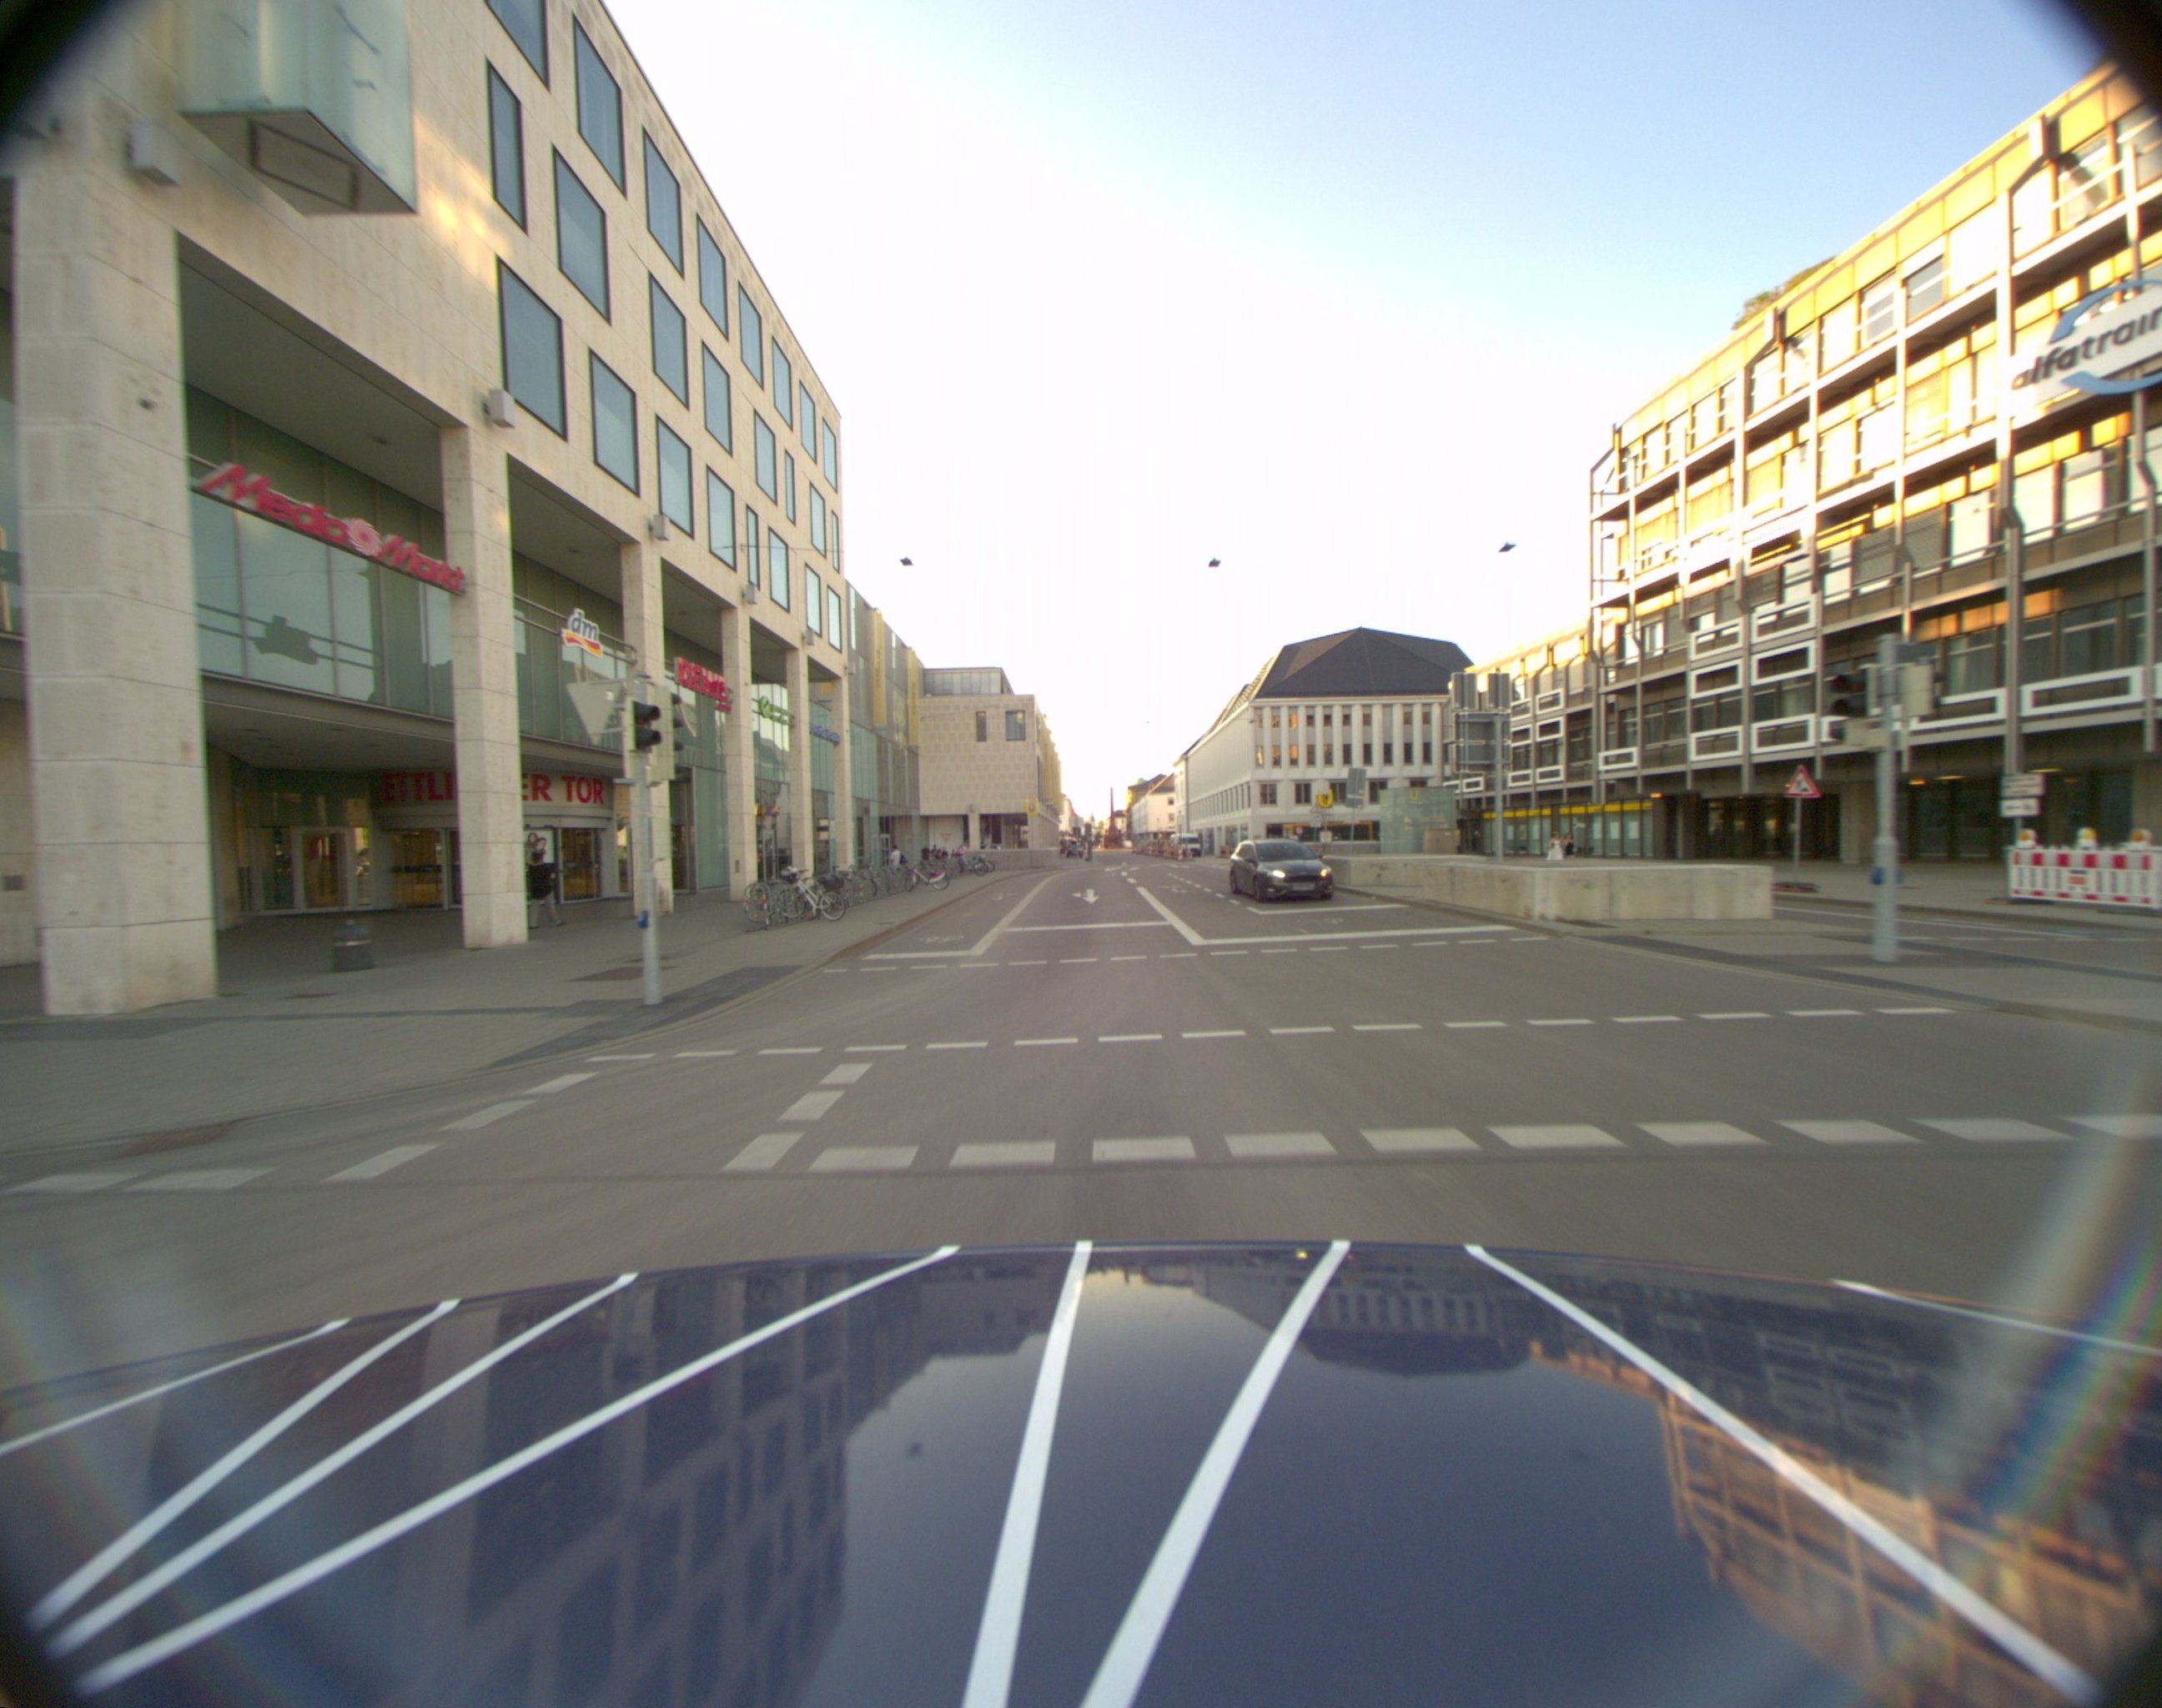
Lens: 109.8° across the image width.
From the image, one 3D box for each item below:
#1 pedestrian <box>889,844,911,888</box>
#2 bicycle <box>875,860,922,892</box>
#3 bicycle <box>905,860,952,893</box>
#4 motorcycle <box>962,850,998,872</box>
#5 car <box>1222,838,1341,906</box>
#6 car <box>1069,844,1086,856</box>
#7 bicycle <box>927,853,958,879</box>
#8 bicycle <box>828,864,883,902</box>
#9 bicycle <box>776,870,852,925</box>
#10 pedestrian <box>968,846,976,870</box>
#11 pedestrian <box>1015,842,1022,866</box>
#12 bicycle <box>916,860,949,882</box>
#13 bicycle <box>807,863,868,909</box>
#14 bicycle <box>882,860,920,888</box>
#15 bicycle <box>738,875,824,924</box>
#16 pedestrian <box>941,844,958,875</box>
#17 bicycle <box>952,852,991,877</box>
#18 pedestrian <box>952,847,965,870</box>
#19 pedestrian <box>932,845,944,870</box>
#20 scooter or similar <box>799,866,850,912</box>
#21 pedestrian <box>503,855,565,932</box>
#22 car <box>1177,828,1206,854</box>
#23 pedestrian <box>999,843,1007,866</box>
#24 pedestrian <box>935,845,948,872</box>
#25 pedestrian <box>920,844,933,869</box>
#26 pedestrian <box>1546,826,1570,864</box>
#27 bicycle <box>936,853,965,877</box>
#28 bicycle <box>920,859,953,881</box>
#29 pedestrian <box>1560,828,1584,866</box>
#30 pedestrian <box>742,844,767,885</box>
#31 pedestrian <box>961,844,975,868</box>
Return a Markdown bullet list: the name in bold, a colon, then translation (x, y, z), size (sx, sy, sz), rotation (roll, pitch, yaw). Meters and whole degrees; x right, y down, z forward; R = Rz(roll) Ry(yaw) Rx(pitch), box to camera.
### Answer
- **pedestrian**: translation (-7.042, 0.451, 29.612), size (0.708, 1.682, 0.629), rotation (-1, 2, -8)
- **bicycle**: translation (-6.838, 0.820, 28.491), size (1.518, 1.118, 0.580), rotation (-4, 1, 4)
- **bicycle**: translation (-5.424, 0.791, 27.044), size (1.518, 1.057, 0.466), rotation (-4, 1, 1)
- **motorcycle**: translation (-5.893, 0.426, 44.234), size (2.007, 1.217, 0.480), rotation (-1, 2, -3)
- **car**: translation (4.927, 0.367, 19.309), size (1.762, 1.454, 4.378), rotation (-3, 1, -1)
- **car**: translation (-0.415, -0.489, 87.079), size (1.798, 1.365, 3.670), rotation (-1, 1, 2)
- **bicycle**: translation (-6.783, 0.596, 37.172), size (1.345, 1.157, 0.518), rotation (-4, 1, -1)
- **bicycle**: translation (-7.132, 0.918, 24.072), size (1.519, 1.099, 0.552), rotation (-4, 1, -3)
- **bicycle**: translation (-6.033, 0.975, 17.205), size (1.482, 1.177, 0.548), rotation (-1, 1, 5)
- **pedestrian**: translation (-8.240, 0.294, 57.461), size (0.494, 1.734, 0.656), rotation (-1, 2, 3)
- **pedestrian**: translation (-4.644, 0.004, 56.691), size (0.455, 1.734, 0.492), rotation (-1, 2, 3)
- **bicycle**: translation (-6.752, 0.763, 34.602), size (1.345, 0.927, 0.518), rotation (-4, 1, -1)
- **bicycle**: translation (-7.190, 0.929, 22.454), size (1.518, 1.220, 0.618), rotation (-4, 1, -1)
- **bicycle**: translation (-7.368, 0.819, 31.167), size (1.447, 1.059, 0.580), rotation (-4, 1, -11)
- **bicycle**: translation (-7.038, 1.069, 17.881), size (1.774, 1.072, 0.482), rotation (-1, 1, -7)
- **pedestrian**: translation (-7.131, 0.308, 41.129), size (0.809, 1.633, 0.645), rotation (-2, 2, -18)
- **bicycle**: translation (-5.525, 0.537, 38.425), size (1.838, 1.140, 0.466), rotation (-4, 1, 1)
- **pedestrian**: translation (-9.251, 0.348, 57.319), size (0.793, 1.734, 0.656), rotation (-1, 2, 3)
- **pedestrian**: translation (-9.697, 0.216, 51.583), size (0.698, 1.686, 0.820), rotation (-1, 2, -5)
- **scooter or similar**: translation (-6.945, 0.934, 20.599), size (1.197, 1.192, 0.492), rotation (-1, 1, -4)
- **pedestrian**: translation (-11.915, 0.846, 16.574), size (0.793, 1.629, 0.708), rotation (-1, 2, 0)
- **car**: translation (11.468, -1.361, 79.471), size (2.142, 2.541, 6.049), rotation (-1, 1, 0)
- **pedestrian**: translation (-6.003, 0.046, 58.521), size (0.516, 1.734, 0.492), rotation (-1, 2, 3)
- **pedestrian**: translation (-9.127, 0.279, 49.688), size (0.619, 1.770, 0.812), rotation (-1, 2, 3)
- **pedestrian**: translation (-10.468, 0.168, 51.431), size (0.740, 1.638, 0.820), rotation (-1, 2, -5)
- **pedestrian**: translation (20.971, -0.389, 33.409), size (0.670, 1.630, 0.584), rotation (-1, 2, 0)
- **bicycle**: translation (-6.746, 0.575, 39.258), size (1.345, 1.157, 0.518), rotation (-4, 1, -1)
- **bicycle**: translation (-6.700, 0.756, 35.248), size (1.345, 0.927, 0.518), rotation (-4, 1, -1)
- **pedestrian**: translation (21.595, -0.312, 33.419), size (0.616, 1.630, 0.702), rotation (-1, 2, 0)
- **pedestrian**: translation (-13.038, 0.411, 30.388), size (0.629, 1.642, 0.708), rotation (-1, 1, 1)
- **pedestrian**: translation (-8.356, 0.121, 56.039), size (0.793, 1.734, 0.941), rotation (-1, 2, 3)
